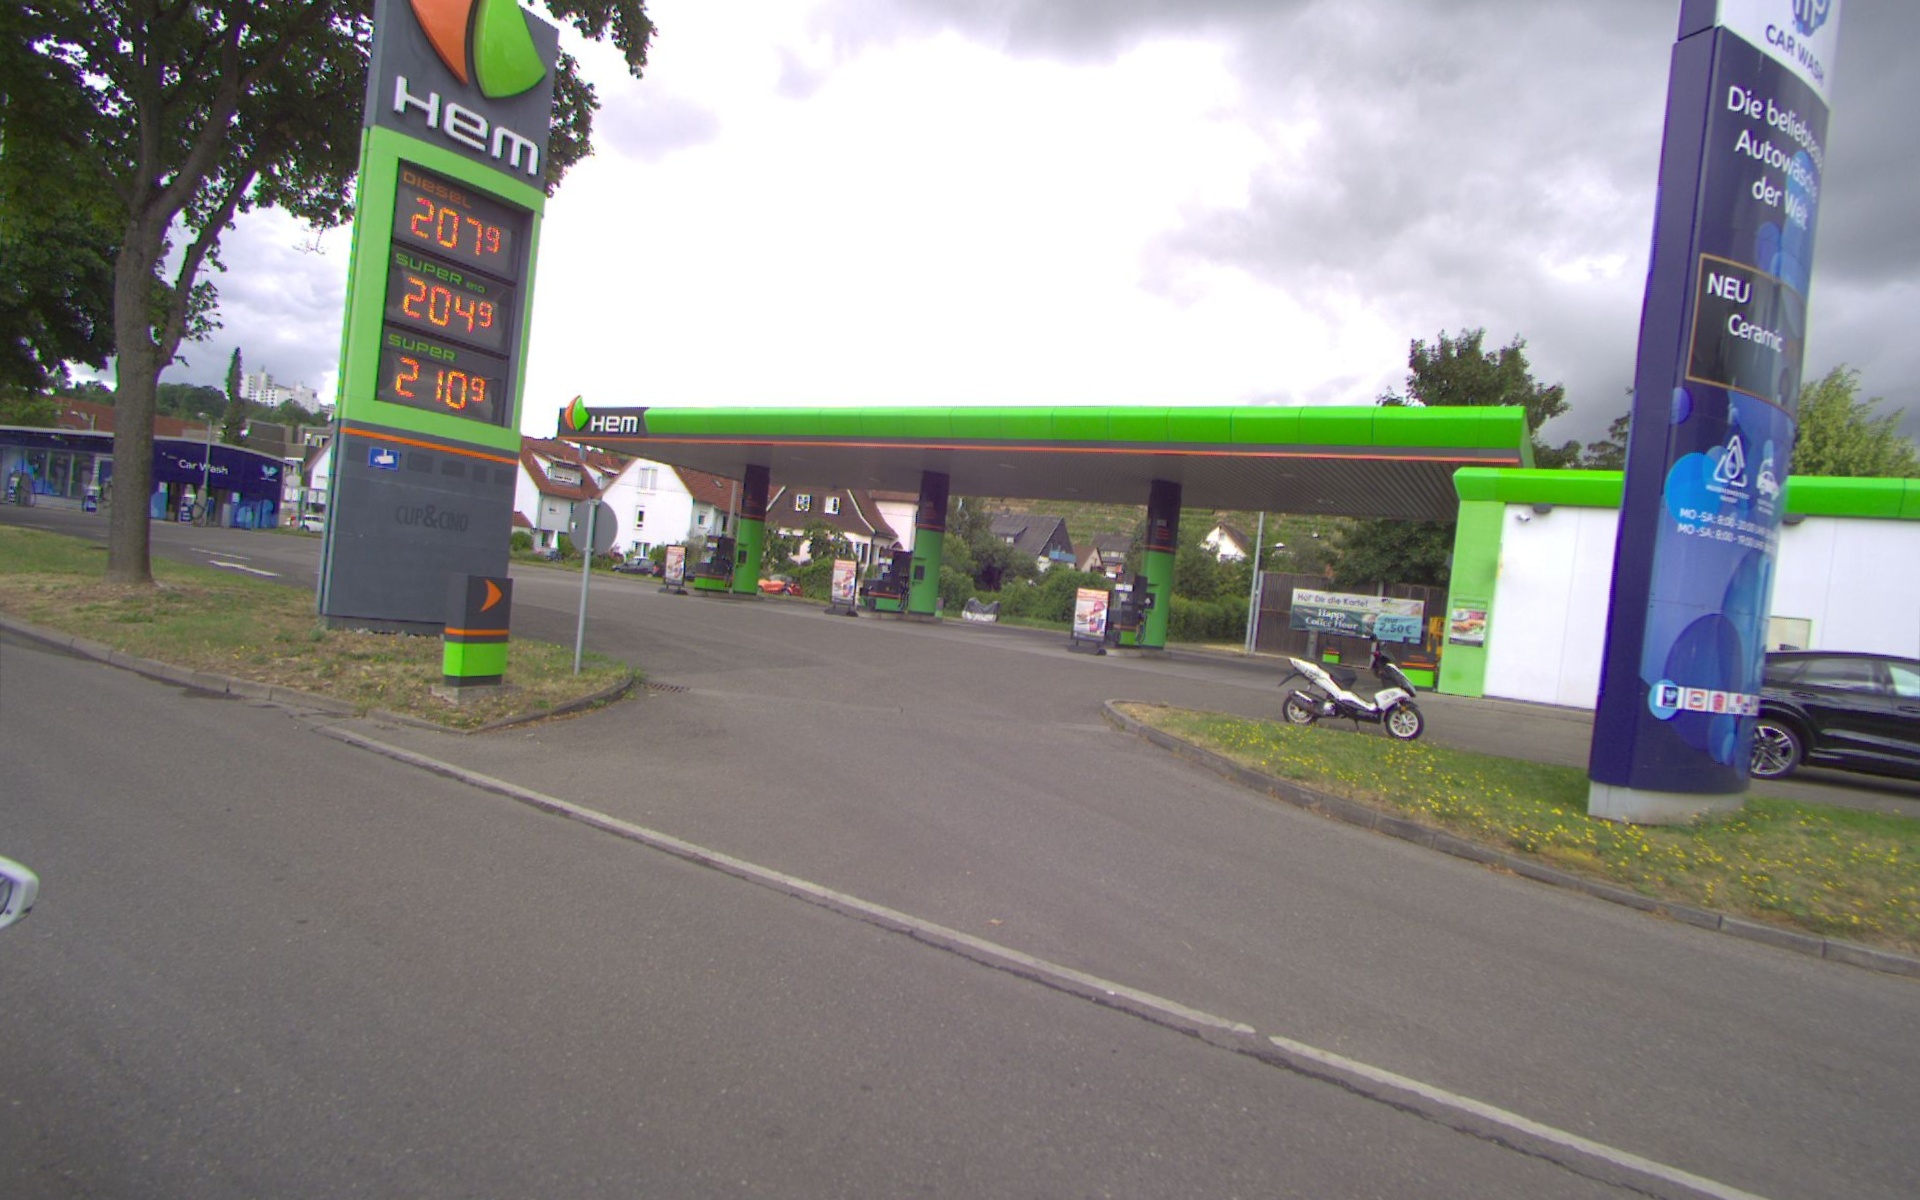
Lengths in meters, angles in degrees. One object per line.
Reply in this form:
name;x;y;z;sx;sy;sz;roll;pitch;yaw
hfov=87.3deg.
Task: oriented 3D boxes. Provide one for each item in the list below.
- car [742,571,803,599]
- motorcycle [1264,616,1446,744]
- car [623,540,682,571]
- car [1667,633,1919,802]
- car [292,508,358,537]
car;-11.426;-0.917;61.477;3.273;1.279;1.421;7;-1;19
motorcycle;5.113;1.002;13.054;1.957;1.348;0.856;7;1;32
car;-21.918;-3.159;71.636;3.934;1.705;1.691;7;1;32
car;11.373;1.470;12.244;4.265;1.697;1.821;6;2;31
car;-52.857;-6.424;83.831;1.747;1.704;4.226;7;-2;29
